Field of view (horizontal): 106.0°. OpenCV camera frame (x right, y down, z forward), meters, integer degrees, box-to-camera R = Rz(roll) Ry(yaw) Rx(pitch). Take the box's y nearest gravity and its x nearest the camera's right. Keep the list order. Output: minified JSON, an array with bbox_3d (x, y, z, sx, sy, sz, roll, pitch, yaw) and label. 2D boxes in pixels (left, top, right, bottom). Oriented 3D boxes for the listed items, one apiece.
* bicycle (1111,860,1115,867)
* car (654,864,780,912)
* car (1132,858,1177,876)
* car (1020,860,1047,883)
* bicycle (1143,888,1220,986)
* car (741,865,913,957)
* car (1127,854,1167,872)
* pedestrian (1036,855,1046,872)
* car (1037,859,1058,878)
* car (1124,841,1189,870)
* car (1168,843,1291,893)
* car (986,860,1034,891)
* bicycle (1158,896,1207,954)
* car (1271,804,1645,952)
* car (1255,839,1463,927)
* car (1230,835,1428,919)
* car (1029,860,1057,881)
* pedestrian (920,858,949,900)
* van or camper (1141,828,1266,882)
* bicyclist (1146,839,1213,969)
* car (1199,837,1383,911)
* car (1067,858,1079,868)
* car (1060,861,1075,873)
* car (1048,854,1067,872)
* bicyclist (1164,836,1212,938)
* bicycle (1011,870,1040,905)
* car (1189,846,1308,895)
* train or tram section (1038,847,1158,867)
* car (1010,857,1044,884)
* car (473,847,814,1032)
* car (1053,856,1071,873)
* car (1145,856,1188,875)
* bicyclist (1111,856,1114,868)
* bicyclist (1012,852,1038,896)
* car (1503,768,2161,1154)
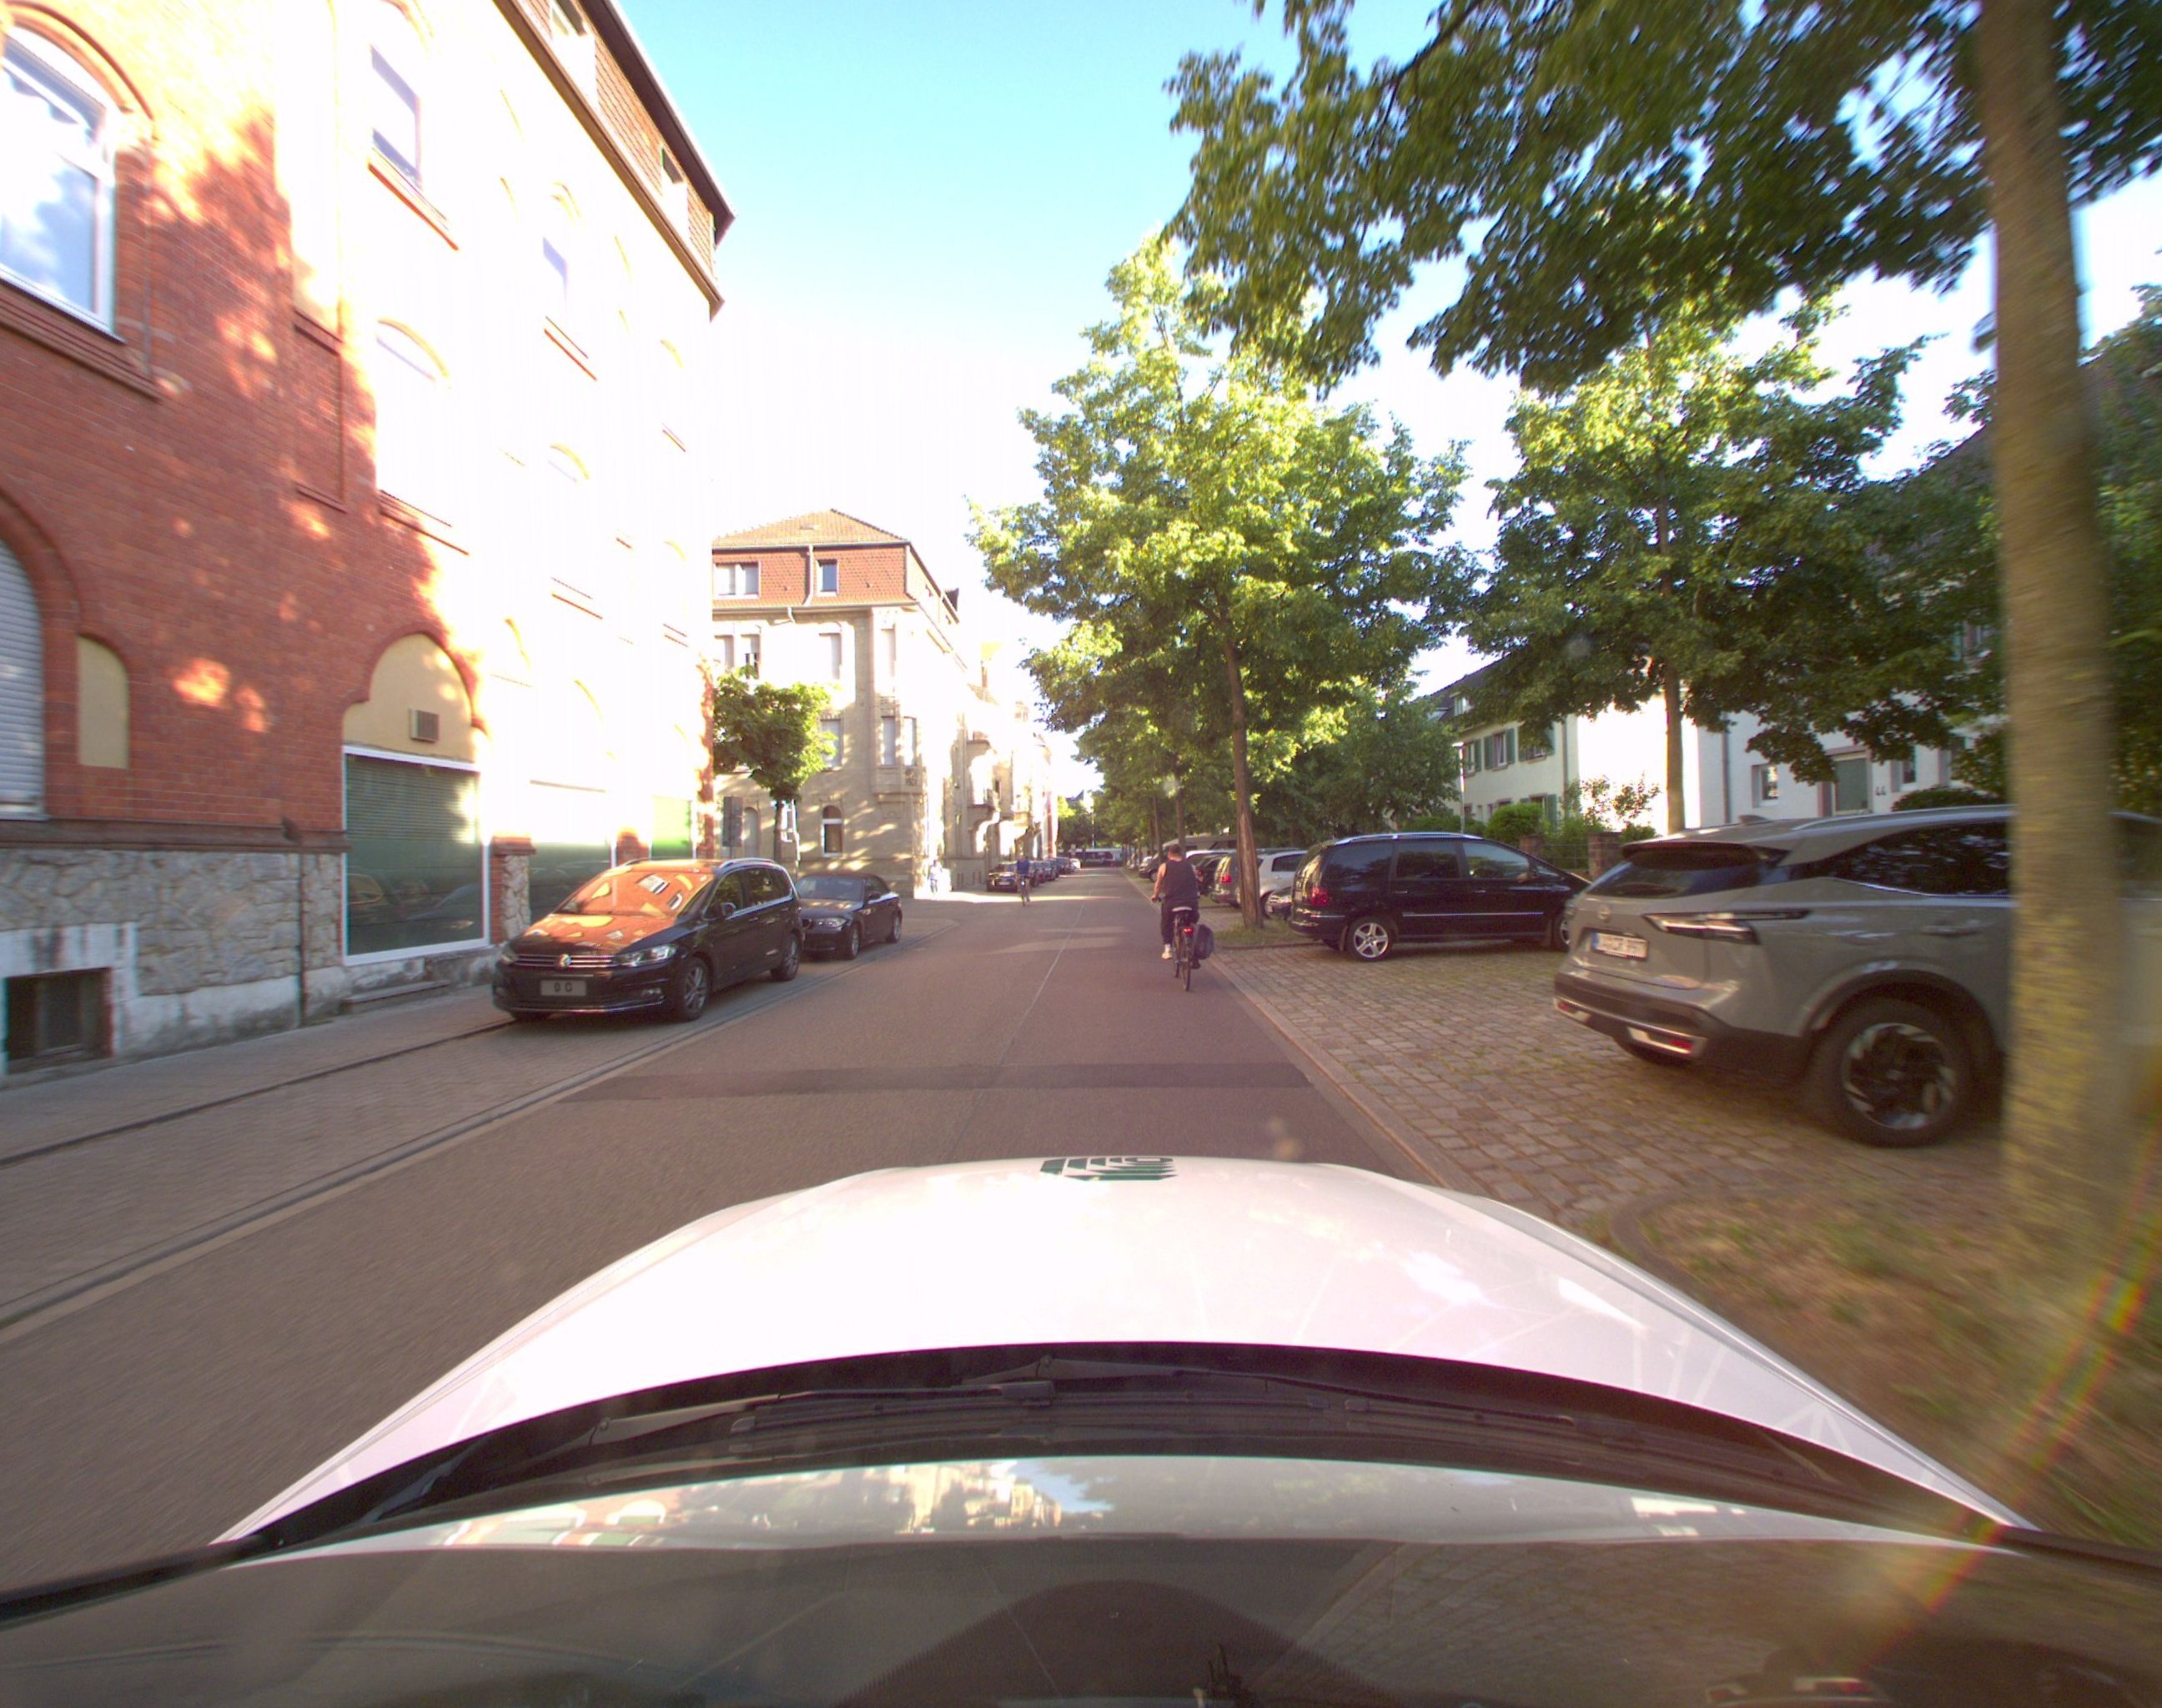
[{"bbox_3d":[4.880,1.516,124.671,0.496,1.005,1.474,0,-2,2],"label":"bicycle"},{"bbox_3d":[-13.252,1.217,29.811,3.784,1.550,1.718,-1,2,-1],"label":"car"},{"bbox_3d":[6.838,1.219,76.082,4.121,1.600,1.704,-2,-2,3],"label":"car"},{"bbox_3d":[-3.141,1.117,54.452,1.624,1.453,3.836,0,0,-1],"label":"car"},{"bbox_3d":[1.213,0.982,10.191,0.735,1.054,1.956,1,-1,1],"label":"bicycle"},{"bbox_3d":[-4.422,0.918,14.911,1.629,1.411,4.335,1,-1,2],"label":"car"},{"bbox_3d":[7.064,0.983,87.119,4.070,1.650,1.640,-4,-1,-1],"label":"car"},{"bbox_3d":[-4.092,1.011,83.377,0.934,1.742,0.735,0,-1,2],"label":"pedestrian"},{"bbox_3d":[-2.866,1.224,69.470,1.590,1.489,2.736,2,0,0],"label":"car"},{"bbox_3d":[8.670,0.149,94.402,7.126,2.978,2.463,-3,-1,-1],"label":"car"},{"bbox_3d":[5.903,0.557,32.842,4.600,1.709,1.835,-3,0,3],"label":"car"},{"bbox_3d":[-3.533,1.073,41.287,1.804,1.427,4.899,1,-1,1],"label":"car"},{"bbox_3d":[1.672,1.156,13.677,0.631,0.799,1.833,-2,0,2],"label":"bicycle"},{"bbox_3d":[5.343,0.343,12.065,4.562,1.677,1.908,-4,-1,3],"label":"car"},{"bbox_3d":[5.650,0.573,16.859,3.708,1.453,1.589,-4,-1,1],"label":"car"},{"bbox_3d":[5.875,0.535,19.698,4.253,1.633,1.692,-4,-1,4],"label":"car"},{"bbox_3d":[-2.767,1.171,60.321,1.669,1.430,4.553,1,0,2],"label":"car"},{"bbox_3d":[-5.828,0.974,32.433,0.884,1.577,1.054,-2,0,2],"label":"pedestrian"},{"bbox_3d":[7.325,0.067,49.453,7.117,2.647,2.466,-4,-1,3],"label":"van or camper"},{"bbox_3d":[1.220,0.606,10.215,0.727,1.548,0.884,1,-1,0],"label":"bicyclist"},{"bbox_3d":[5.771,0.536,22.661,4.531,1.633,1.809,-4,-1,-5],"label":"car"},{"bbox_3d":[-1.145,1.285,118.365,1.577,1.375,4.133,1,0,2],"label":"car"},{"bbox_3d":[-1.621,1.568,100.569,1.577,1.343,4.133,1,0,2],"label":"car"},{"bbox_3d":[-2.371,0.913,82.663,1.634,1.783,4.357,1,0,2],"label":"car"},{"bbox_3d":[1.769,0.536,13.596,0.686,1.627,0.999,0,-1,1],"label":"bicyclist"},{"bbox_3d":[-1.893,1.130,27.959,0.755,1.107,1.908,-2,-1,2],"label":"bicycle"},{"bbox_3d":[6.144,0.589,30.202,4.052,1.476,1.695,-4,0,2],"label":"car"},{"bbox_3d":[3.481,0.677,160.356,23.890,3.709,4.256,1,-1,-21],"label":"train or tram section"},{"bbox_3d":[-3.113,0.949,47.488,1.690,1.453,4.027,-1,-1,0],"label":"car"},{"bbox_3d":[-4.706,0.804,9.628,1.664,1.681,4.349,0,-1,0],"label":"car"},{"bbox_3d":[-2.032,1.121,89.437,1.682,1.825,4.275,1,0,2],"label":"car"},{"bbox_3d":[7.688,1.073,73.597,3.757,1.600,1.692,-2,-2,3],"label":"car"},{"bbox_3d":[4.859,1.231,124.617,0.484,1.744,0.656,0,-1,1],"label":"bicyclist"},{"bbox_3d":[-1.910,0.684,27.894,0.757,1.454,0.949,-2,-1,1],"label":"bicyclist"},{"bbox_3d":[5.211,0.412,4.729,4.461,1.633,1.875,-4,-1,0],"label":"car"}]
